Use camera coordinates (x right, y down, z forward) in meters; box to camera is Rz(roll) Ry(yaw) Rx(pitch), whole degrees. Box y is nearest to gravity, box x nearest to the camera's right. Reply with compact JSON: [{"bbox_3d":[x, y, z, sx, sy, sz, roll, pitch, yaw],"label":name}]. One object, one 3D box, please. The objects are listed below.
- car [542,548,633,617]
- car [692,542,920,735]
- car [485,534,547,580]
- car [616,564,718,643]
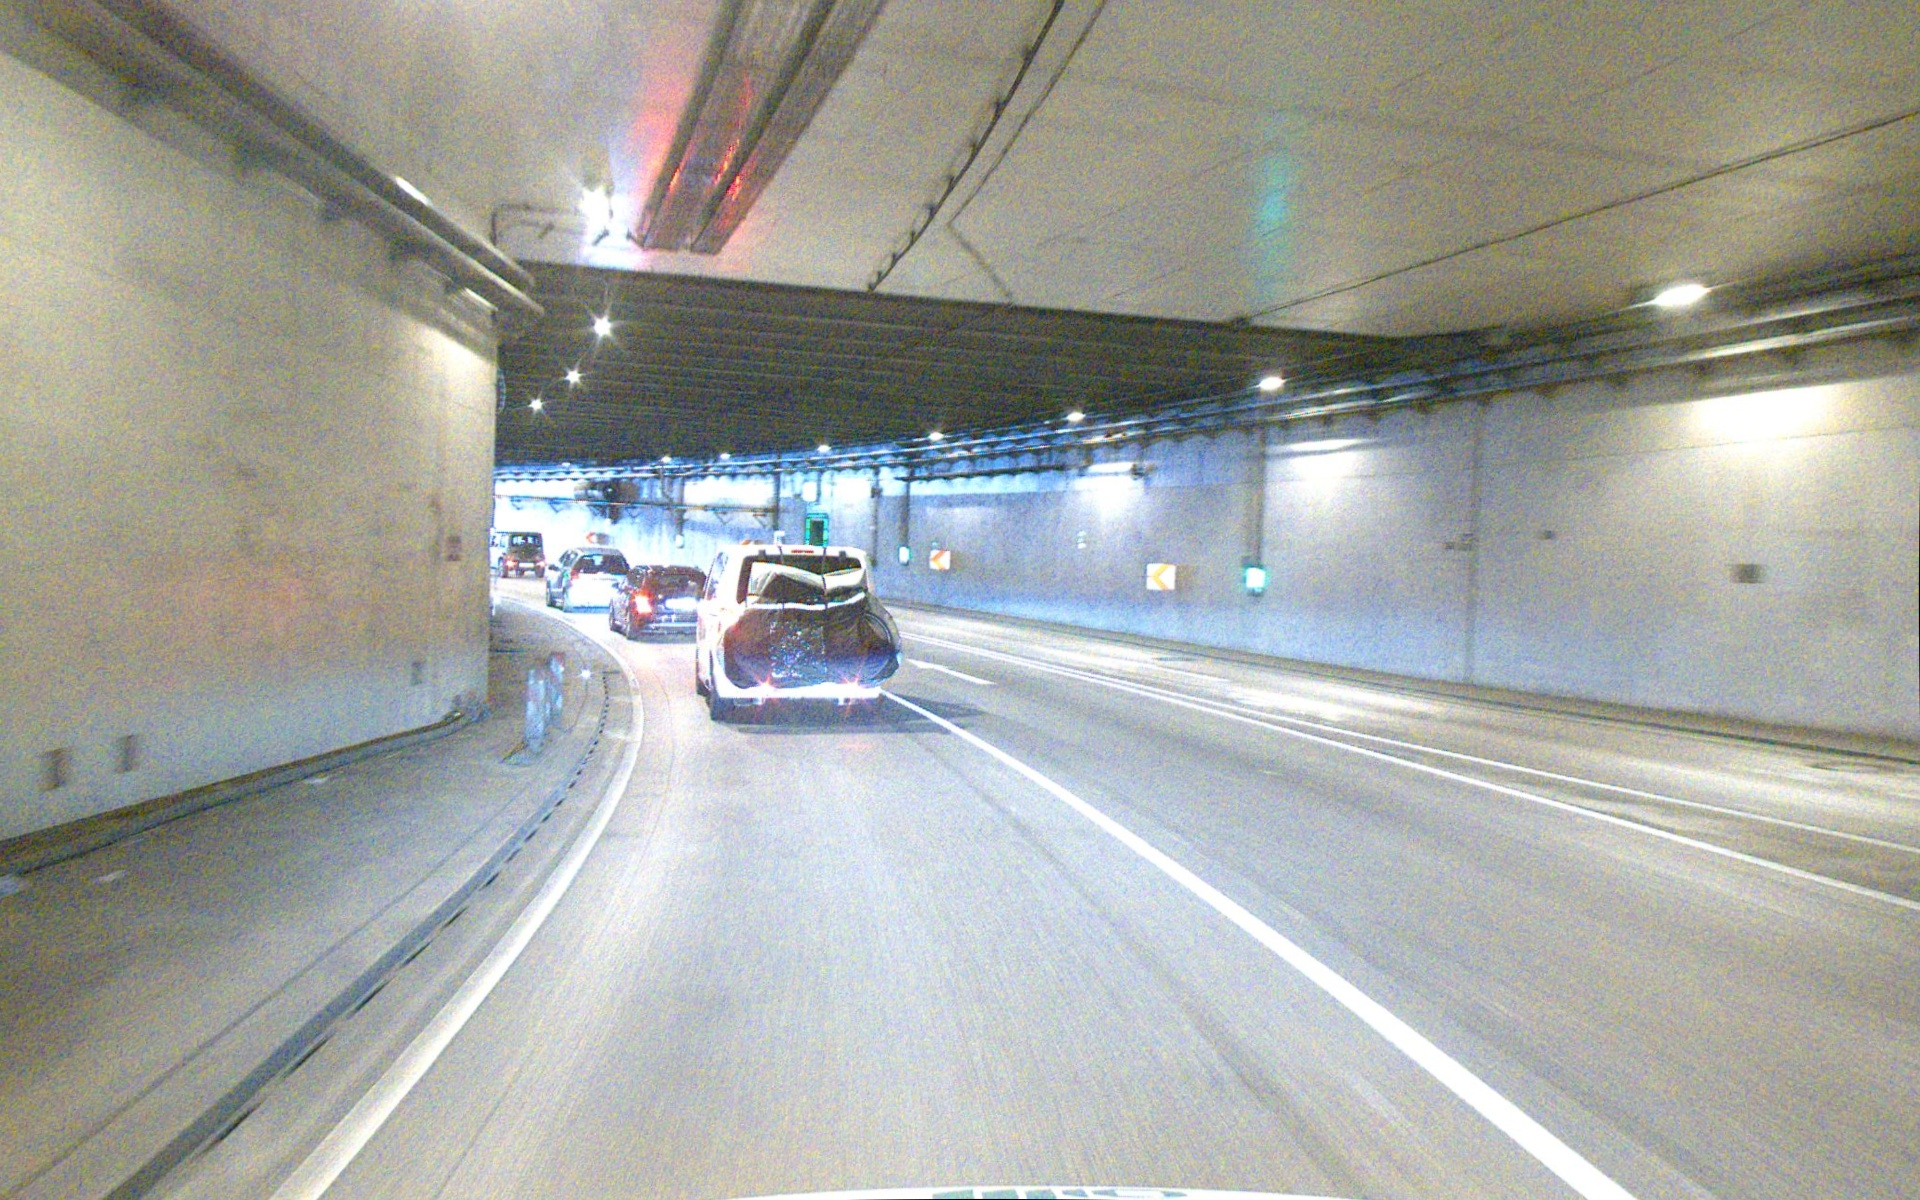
[{"bbox_3d":[-9.389,-0.448,41.570,1.582,1.622,3.331,2,0,-24],"label":"car"},{"bbox_3d":[-1.927,0.330,18.914,1.959,1.879,5.285,0,1,-13],"label":"car"},{"bbox_3d":[-16.838,-1.630,62.628,1.584,1.658,3.325,1,1,-28],"label":"car"},{"bbox_3d":[-5.753,0.043,32.234,1.577,1.419,3.262,0,2,-17],"label":"car"}]
